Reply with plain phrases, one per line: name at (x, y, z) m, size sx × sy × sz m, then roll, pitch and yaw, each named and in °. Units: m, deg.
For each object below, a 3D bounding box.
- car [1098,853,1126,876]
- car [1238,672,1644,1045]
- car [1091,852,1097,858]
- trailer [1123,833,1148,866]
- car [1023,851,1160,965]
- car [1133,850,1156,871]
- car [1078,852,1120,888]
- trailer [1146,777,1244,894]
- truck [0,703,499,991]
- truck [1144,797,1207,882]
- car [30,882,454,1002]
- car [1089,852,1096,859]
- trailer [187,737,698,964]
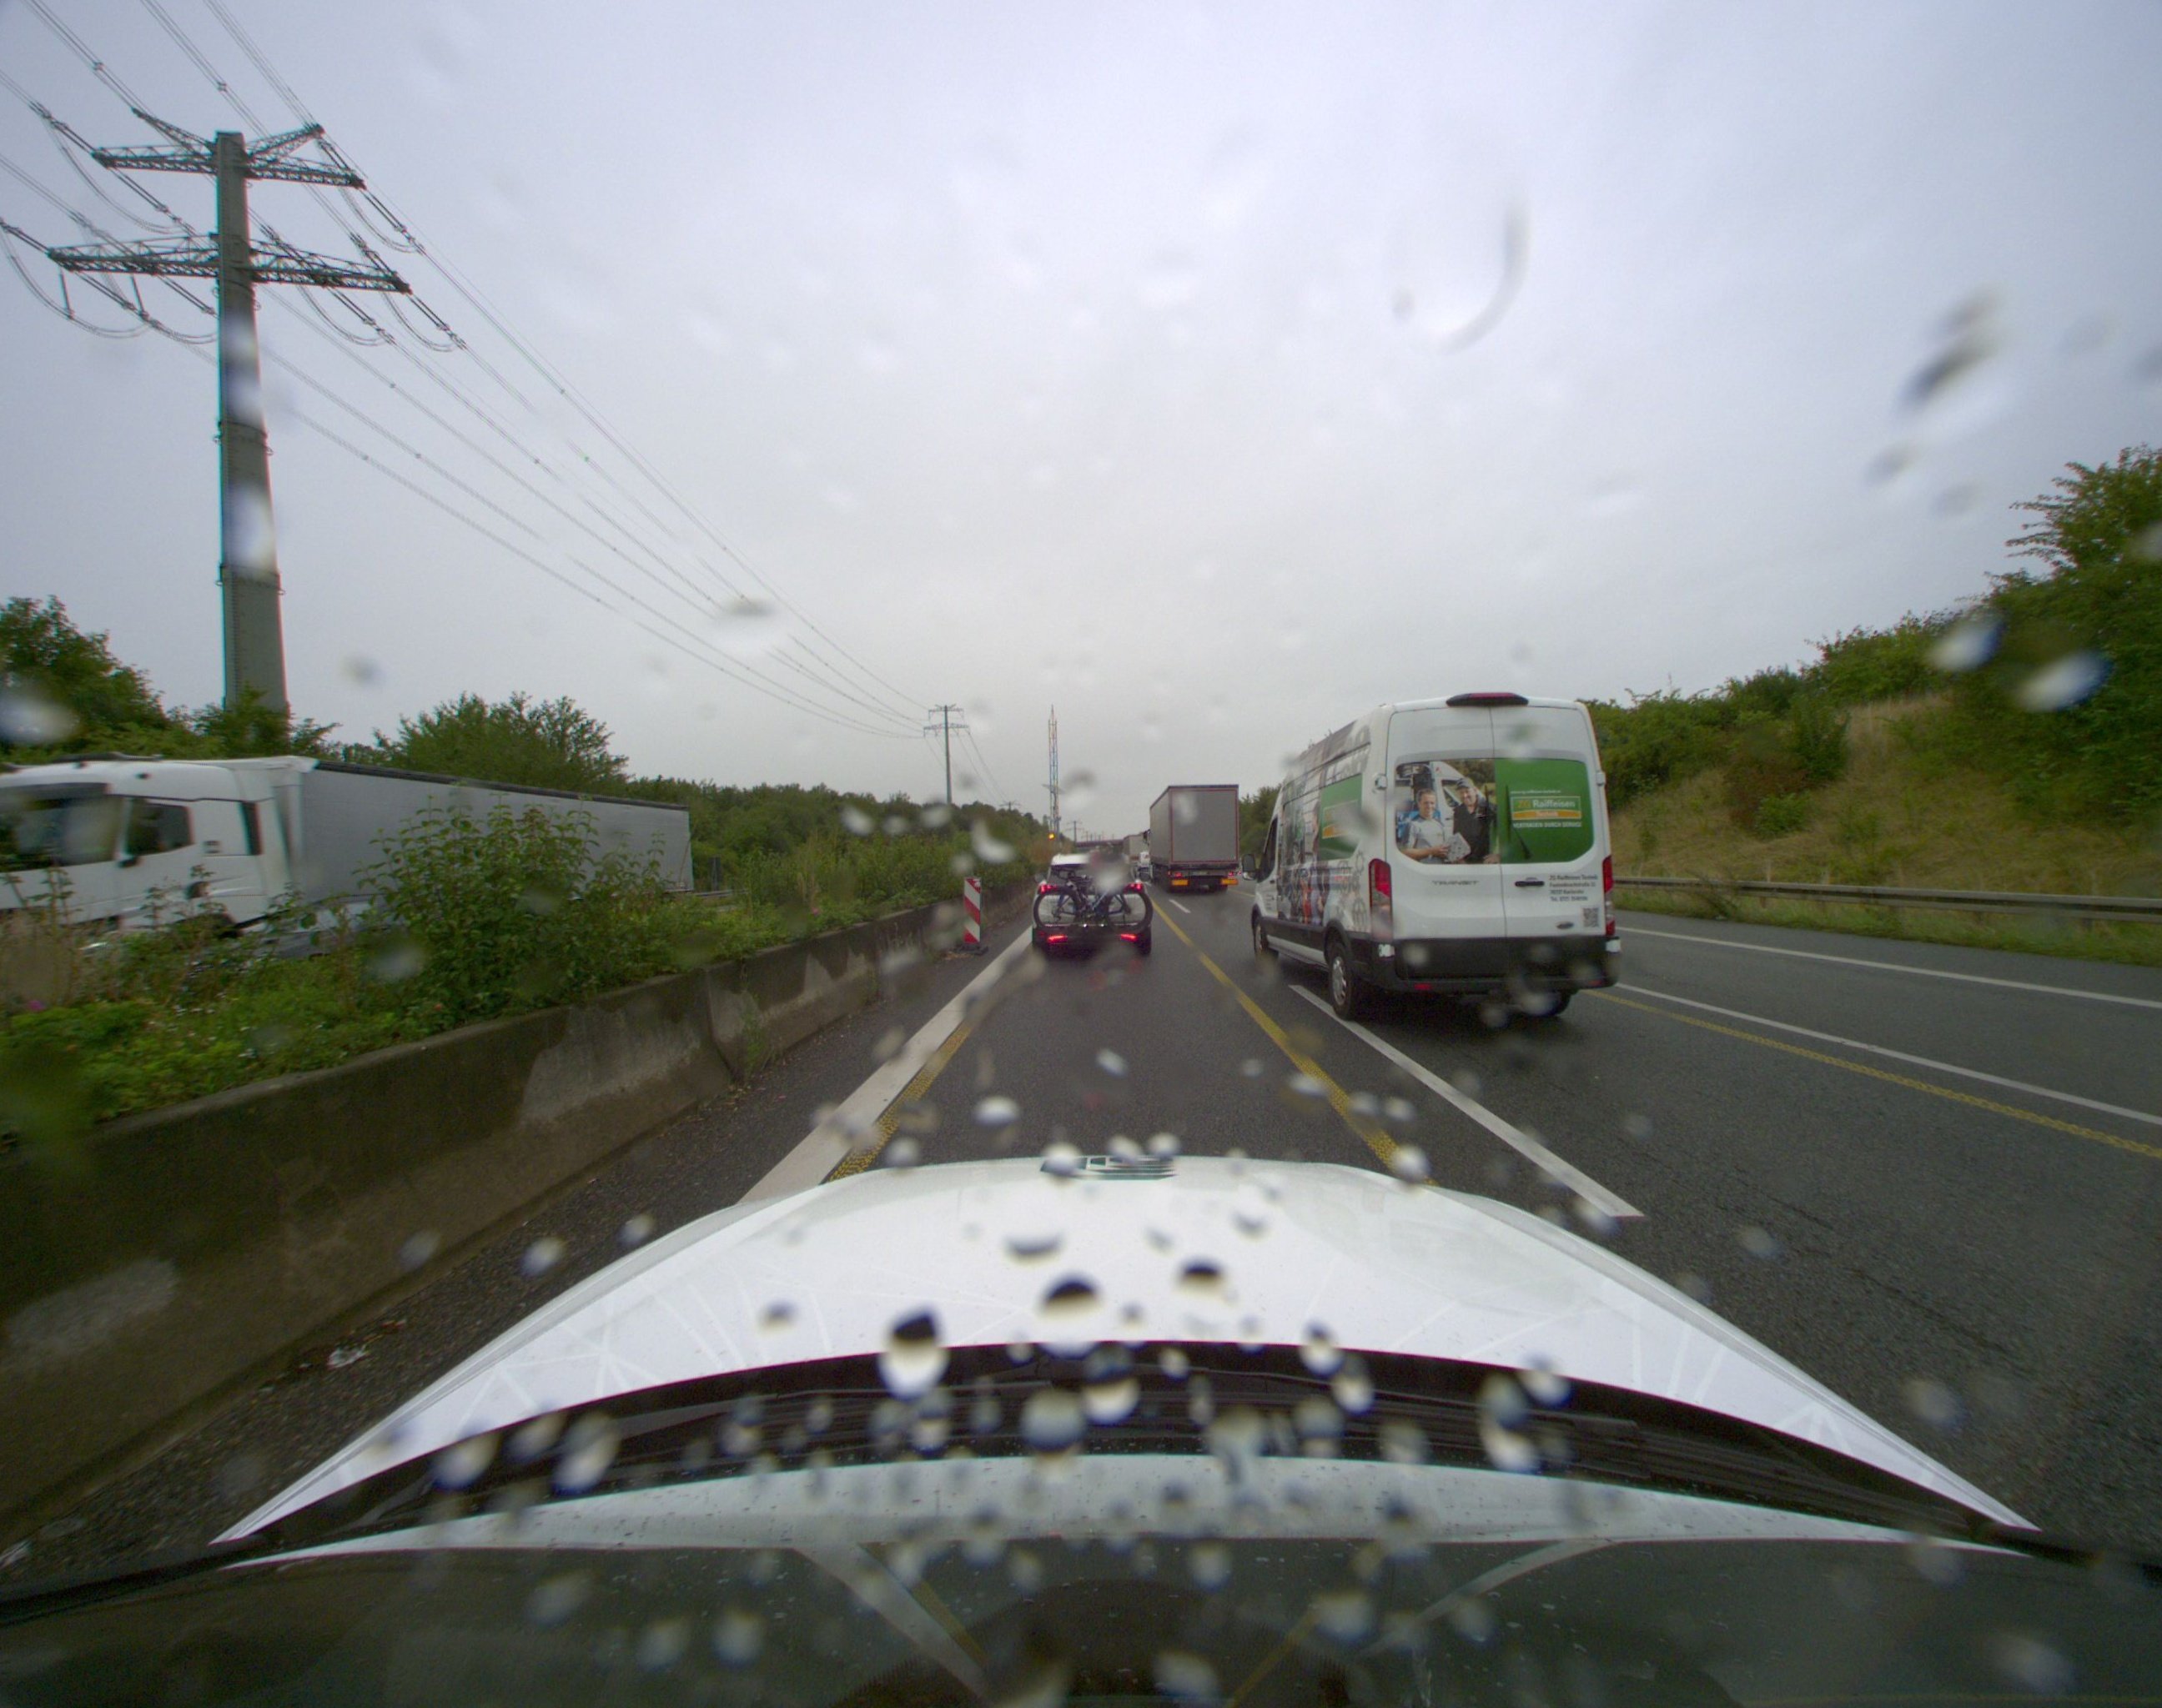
car at (2.194, 0.722, 57.952) m, size 1.843 × 1.531 × 4.001 m, roll -1°, pitch 0°, yaw 1°
car at (3.290, 0.034, 9.064) m, size 1.987 × 2.782 × 5.757 m, roll -1°, pitch 0°, yaw 1°
car at (4.044, 0.320, 255.413) m, size 1.924 × 1.910 × 4.002 m, roll -1°, pitch 1°, yaw 1°
trailer at (7.313, -0.588, 110.652) m, size 2.683 × 4.076 × 13.638 m, roll -1°, pitch 0°, yaw 2°
car at (0.217, 0.738, 13.507) m, size 1.843 × 1.531 × 4.770 m, roll -1°, pitch 0°, yaw 2°
car at (5.853, 0.568, 75.297) m, size 1.822 × 1.839 × 4.657 m, roll -1°, pitch 0°, yaw 2°
car at (0.849, 0.700, 37.743) m, size 1.843 × 1.531 × 4.001 m, roll -1°, pitch 0°, yaw 1°
trailer at (4.640, -0.649, 36.034) m, size 2.696 × 4.146 × 13.736 m, roll -1°, pitch 0°, yaw 2°
truck at (-15.161, -0.065, 15.370) m, size 2.776 × 4.023 × 7.234 m, roll -4°, pitch 0°, yaw 1°
truck at (4.855, -0.701, 42.785) m, size 2.696 × 4.138 × 5.692 m, roll -1°, pitch 0°, yaw 1°
car at (-11.164, 1.075, 11.337) m, size 1.669 × 1.208 × 4.002 m, roll -1°, pitch 0°, yaw 2°
car at (3.309, 0.453, 237.462) m, size 1.924 × 1.973 × 4.002 m, roll -1°, pitch 1°, yaw 1°
trailer at (-15.022, -0.055, 21.806) m, size 2.776 × 4.023 × 13.253 m, roll -4°, pitch 0°, yaw 1°
